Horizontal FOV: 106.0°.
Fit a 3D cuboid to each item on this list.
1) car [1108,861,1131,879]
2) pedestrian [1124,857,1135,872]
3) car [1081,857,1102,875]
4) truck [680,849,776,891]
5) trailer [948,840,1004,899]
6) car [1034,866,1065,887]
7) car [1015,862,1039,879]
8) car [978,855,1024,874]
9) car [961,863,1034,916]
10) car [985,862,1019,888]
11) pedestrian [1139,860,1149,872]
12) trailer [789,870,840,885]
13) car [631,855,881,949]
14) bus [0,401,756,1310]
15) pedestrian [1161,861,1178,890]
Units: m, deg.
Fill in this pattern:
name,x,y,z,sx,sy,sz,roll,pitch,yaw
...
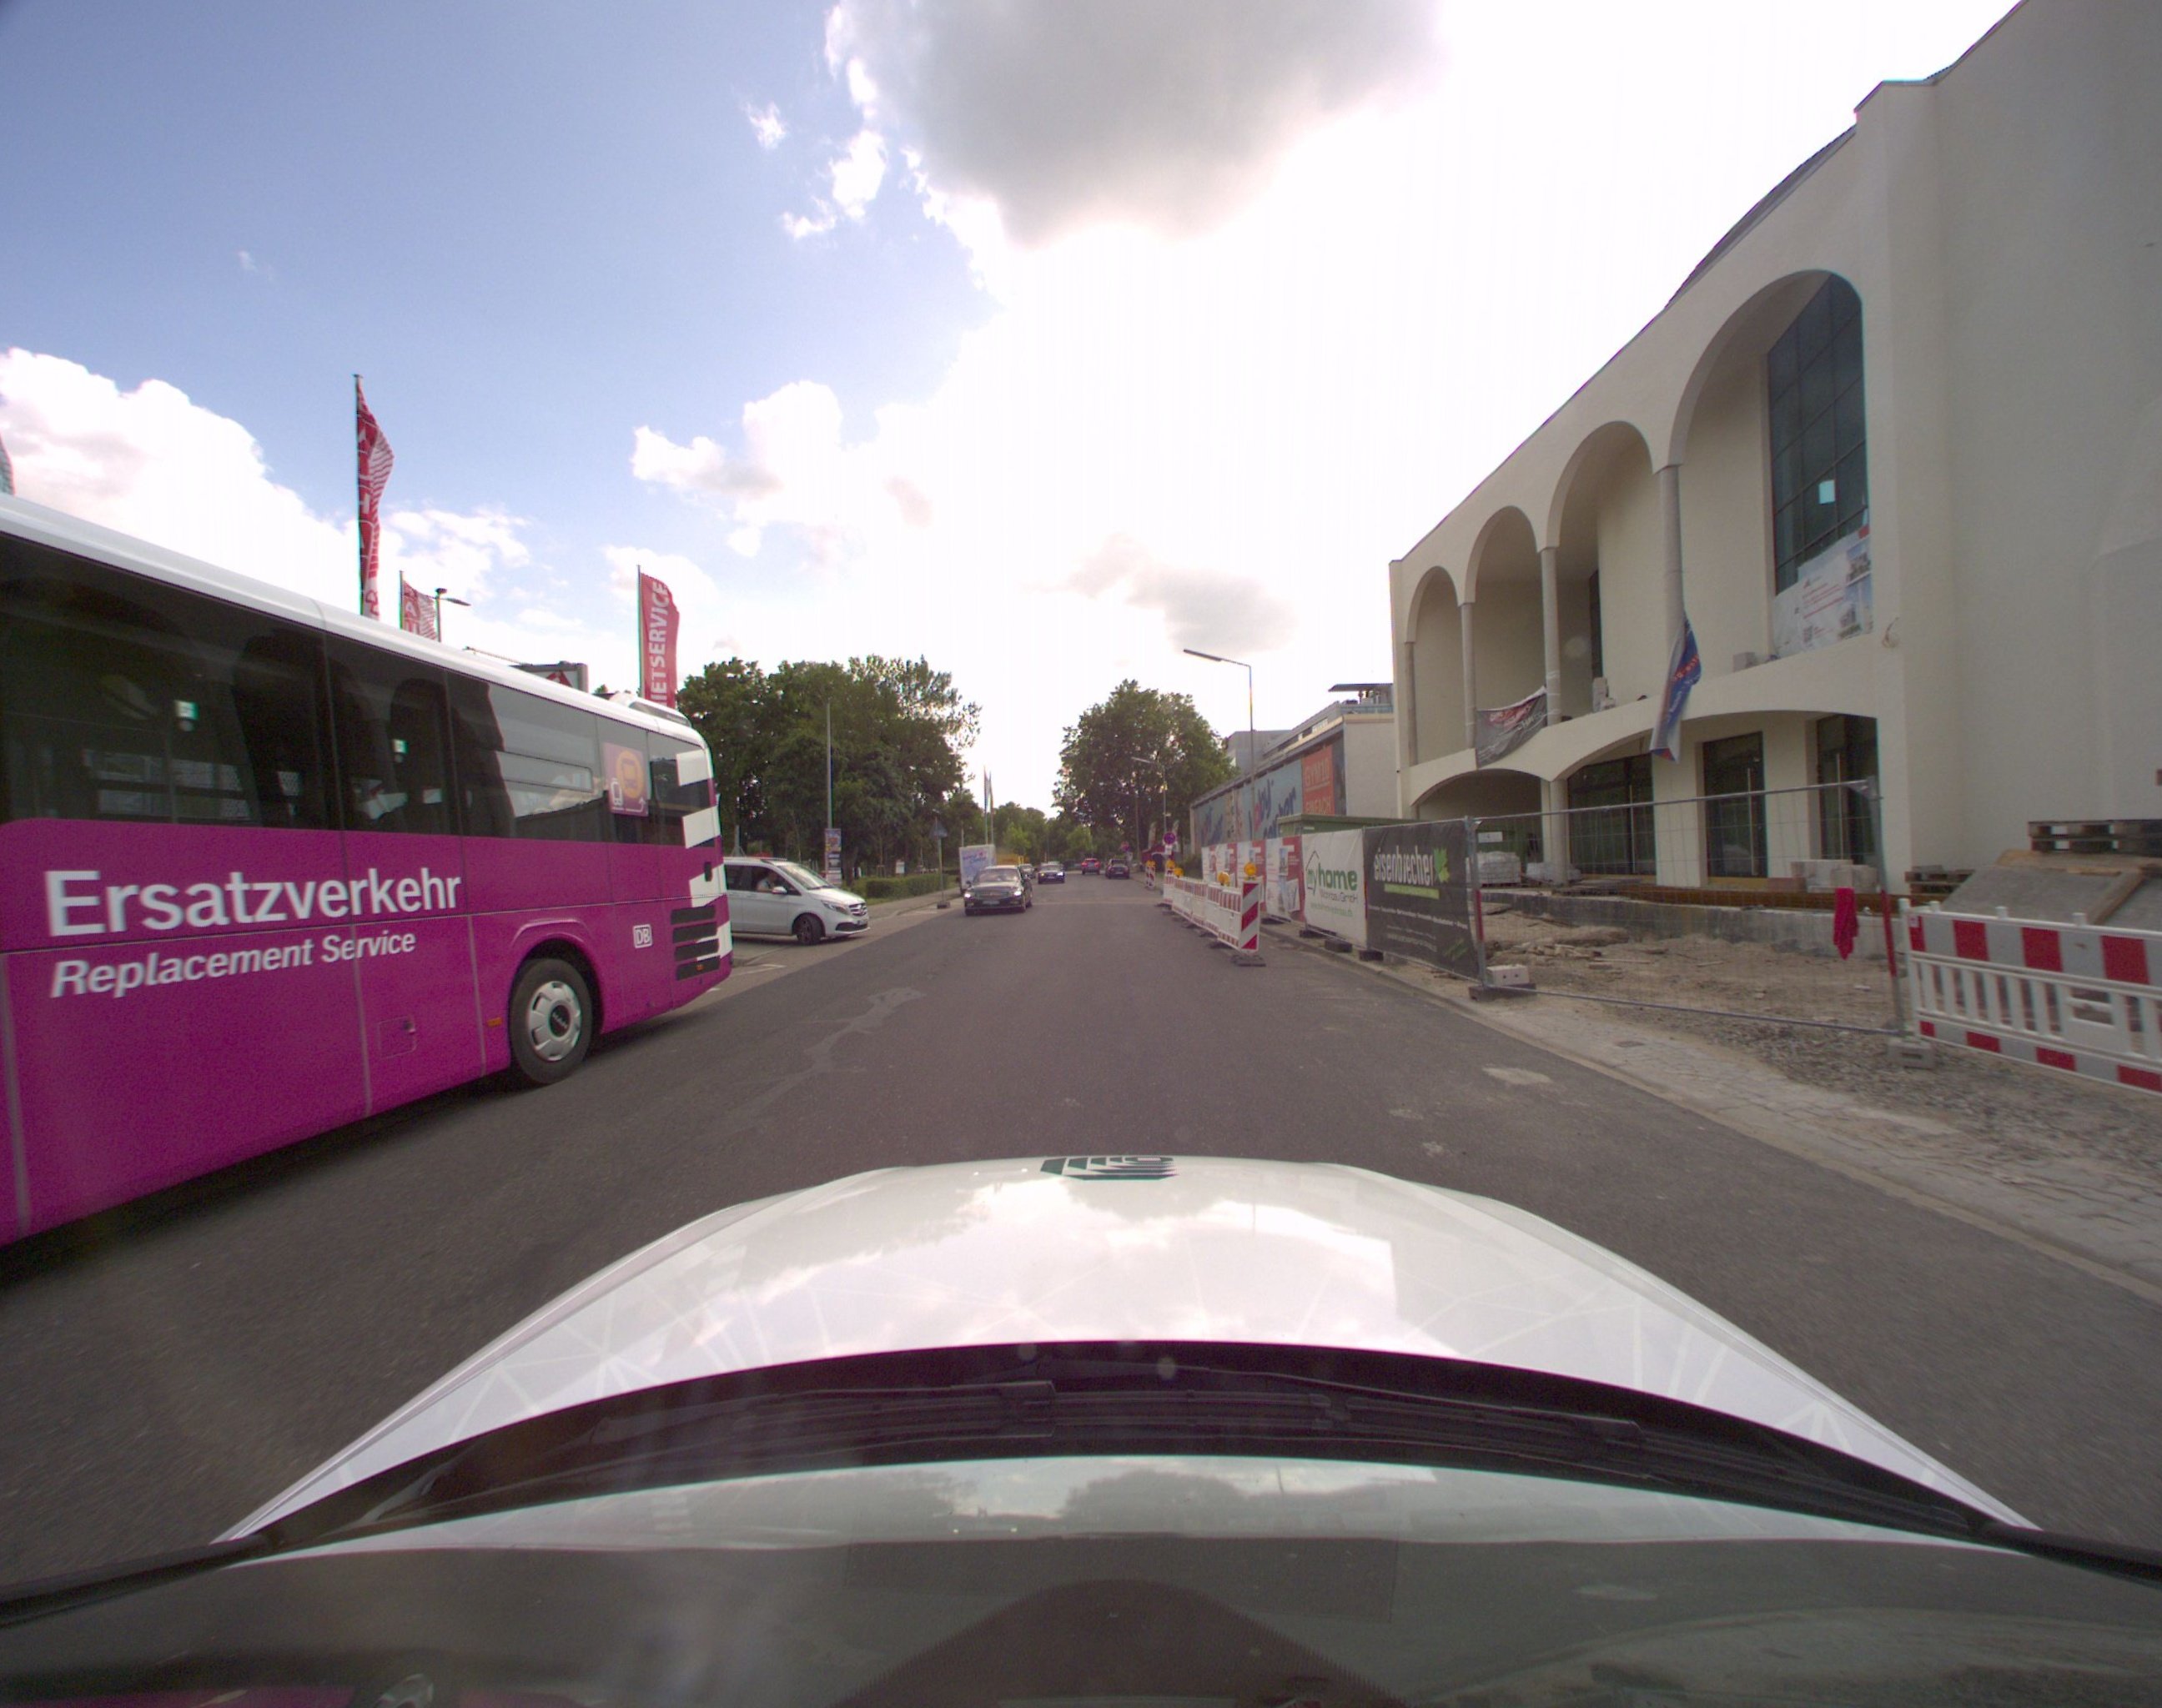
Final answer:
name,x,y,z,sx,sy,sz,roll,pitch,yaw
car,3.200,1.292,68.386,1.801,1.391,4.589,1,0,2
pedestrian,6.107,1.353,102.006,1.003,1.849,1.222,-1,-1,-18
car,1.103,1.259,87.461,1.957,1.815,4.272,-1,0,-2
truck,-23.255,1.070,53.732,5.529,2.594,1.779,-1,-2,0
trailer,-5.433,0.794,42.696,2.133,2.783,4.702,-4,0,0
car,-2.197,1.551,57.567,1.916,1.377,4.380,-2,0,1
car,-5.130,1.545,77.768,1.703,1.420,4.332,-4,-1,2
car,-11.685,1.478,118.992,6.337,2.578,2.215,-2,0,14
car,-2.591,1.067,26.120,1.790,1.459,4.384,-3,0,0
car,-5.129,1.337,53.217,1.760,1.479,4.233,-4,0,-1
pedestrian,6.895,1.342,89.592,1.008,1.314,0.967,-1,-1,8
trailer,-23.027,2.008,70.416,3.798,1.191,1.718,-2,0,5
car,-7.459,1.076,18.995,4.976,1.949,1.995,-2,0,5
bus,-5.374,0.062,3.109,2.654,3.422,13.216,-5,0,0
pedestrian,4.863,1.187,44.838,0.680,1.534,1.128,-1,-1,-5
